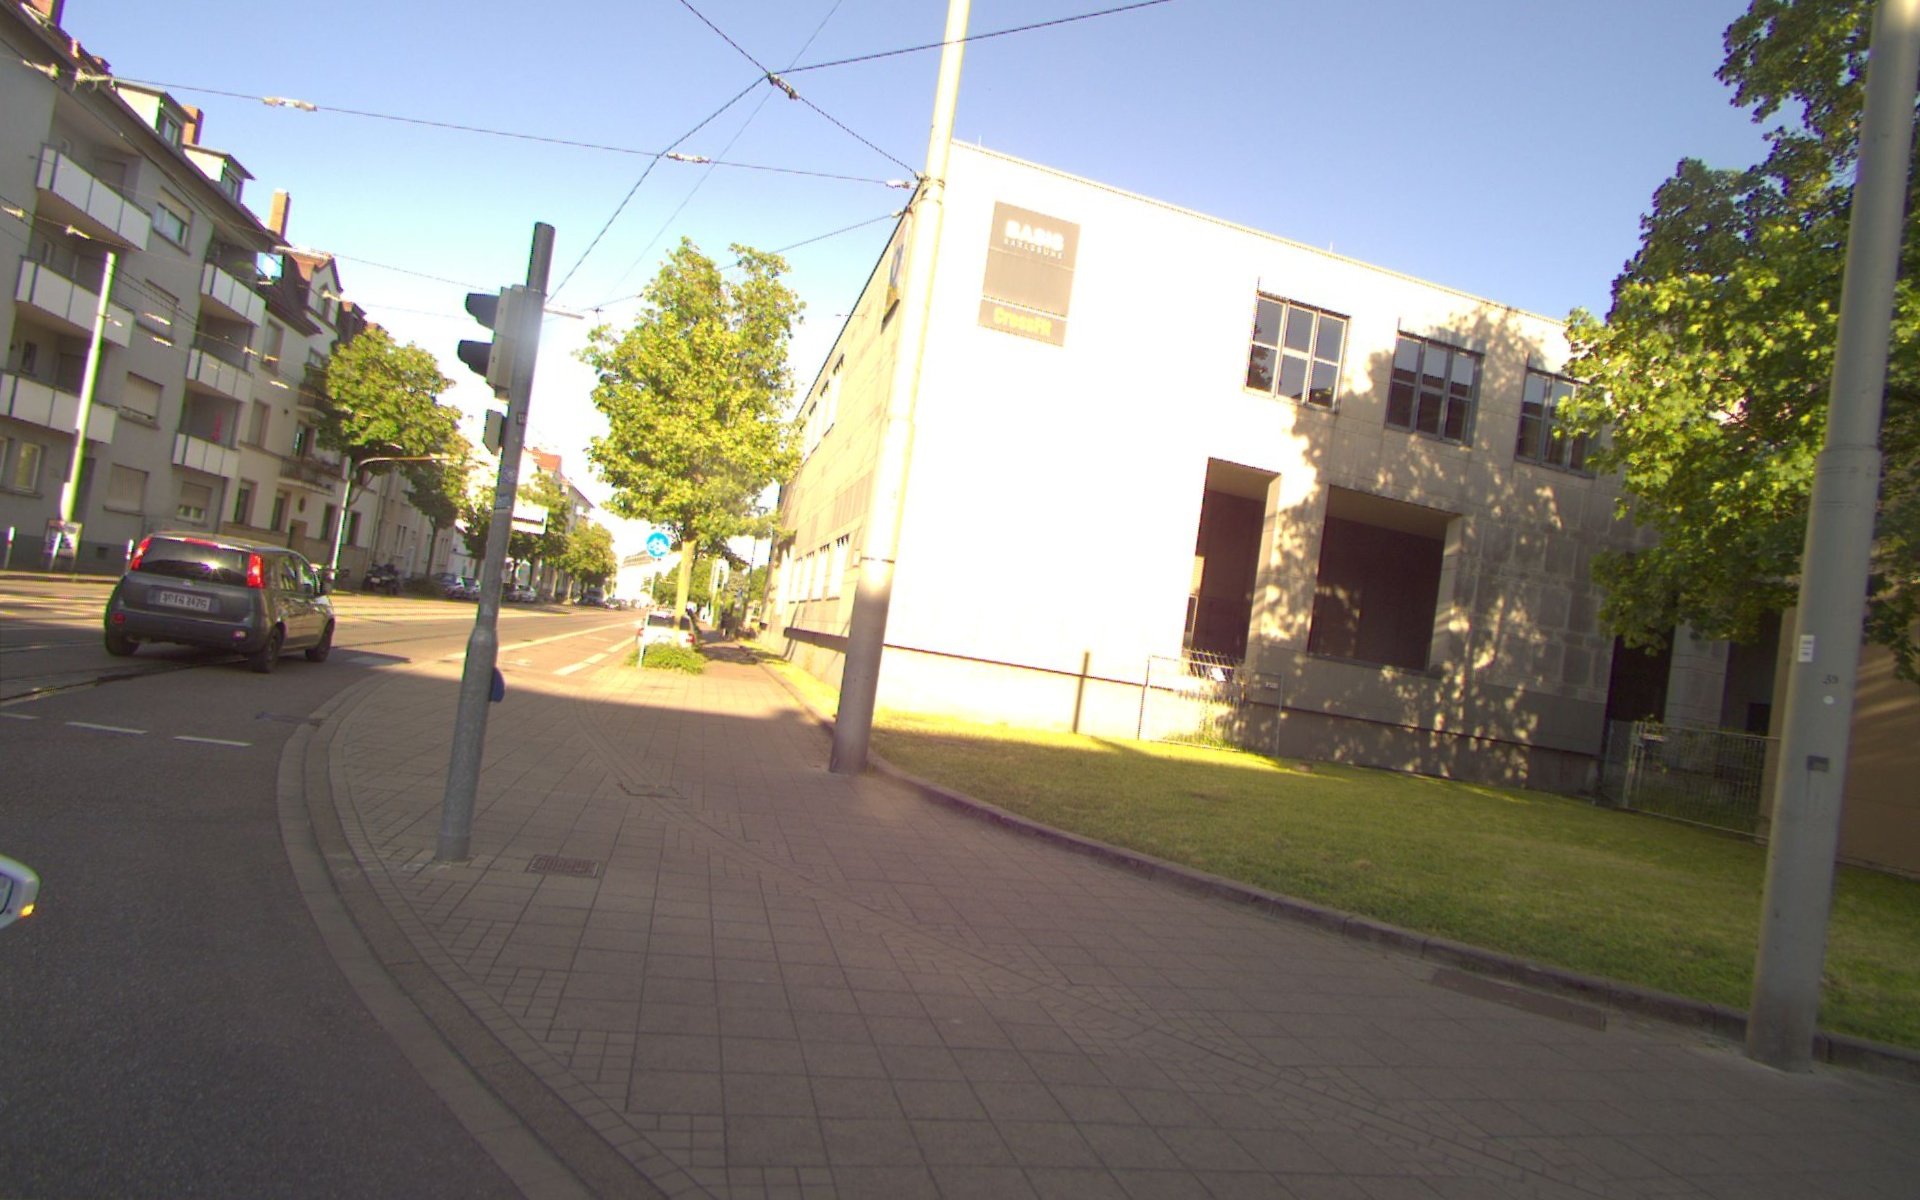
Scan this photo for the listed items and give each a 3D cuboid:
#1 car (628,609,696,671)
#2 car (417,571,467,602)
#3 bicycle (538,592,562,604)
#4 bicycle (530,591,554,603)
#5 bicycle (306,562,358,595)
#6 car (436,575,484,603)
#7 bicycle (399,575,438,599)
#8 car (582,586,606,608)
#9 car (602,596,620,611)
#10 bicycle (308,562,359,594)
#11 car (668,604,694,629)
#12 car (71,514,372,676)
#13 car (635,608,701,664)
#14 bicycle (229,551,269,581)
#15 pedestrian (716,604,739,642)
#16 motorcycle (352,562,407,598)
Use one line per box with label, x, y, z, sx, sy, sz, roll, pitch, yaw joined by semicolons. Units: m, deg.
car;-8.665;1.125;29.496;1.622;1.471;3.906;9;-3;-15
car;-31.187;-0.777;60.654;1.777;1.502;3.988;9;-3;-17
bicycle;-42.292;-0.186;103.818;2.282;0.941;0.792;7;-2;21
bicycle;-42.719;-0.290;102.737;2.224;0.941;0.792;7;-2;21
bicycle;-25.716;-0.888;41.224;0.452;1.055;1.607;6;-5;43
car;-32.611;-0.705;65.685;1.934;1.435;4.176;9;-3;-16
bicycle;-30.525;-0.724;56.728;1.737;1.034;0.604;12;-4;-35
car;-50.890;-0.343;139.850;2.306;2.597;5.658;9;-3;-15
car;-44.412;0.462;128.231;1.761;1.508;4.176;10;-3;-16
bicycle;-26.565;-0.937;42.674;1.699;1.044;0.440;12;-4;-36
car;-25.042;1.452;90.237;1.934;1.926;4.176;9;-3;-16
car;-9.234;-0.006;13.023;1.712;1.516;3.989;9;-3;-16
car;-9.960;1.177;34.326;1.818;1.506;4.629;9;-3;-16
bicycle;-28.160;-1.331;39.866;0.500;1.018;2.015;8;-3;-15
pedestrian;-13.432;1.323;58.101;0.956;2.036;1.023;9;-2;-14
motorcycle;-28.480;-0.951;49.433;1.441;1.498;3.093;9;-3;-16
